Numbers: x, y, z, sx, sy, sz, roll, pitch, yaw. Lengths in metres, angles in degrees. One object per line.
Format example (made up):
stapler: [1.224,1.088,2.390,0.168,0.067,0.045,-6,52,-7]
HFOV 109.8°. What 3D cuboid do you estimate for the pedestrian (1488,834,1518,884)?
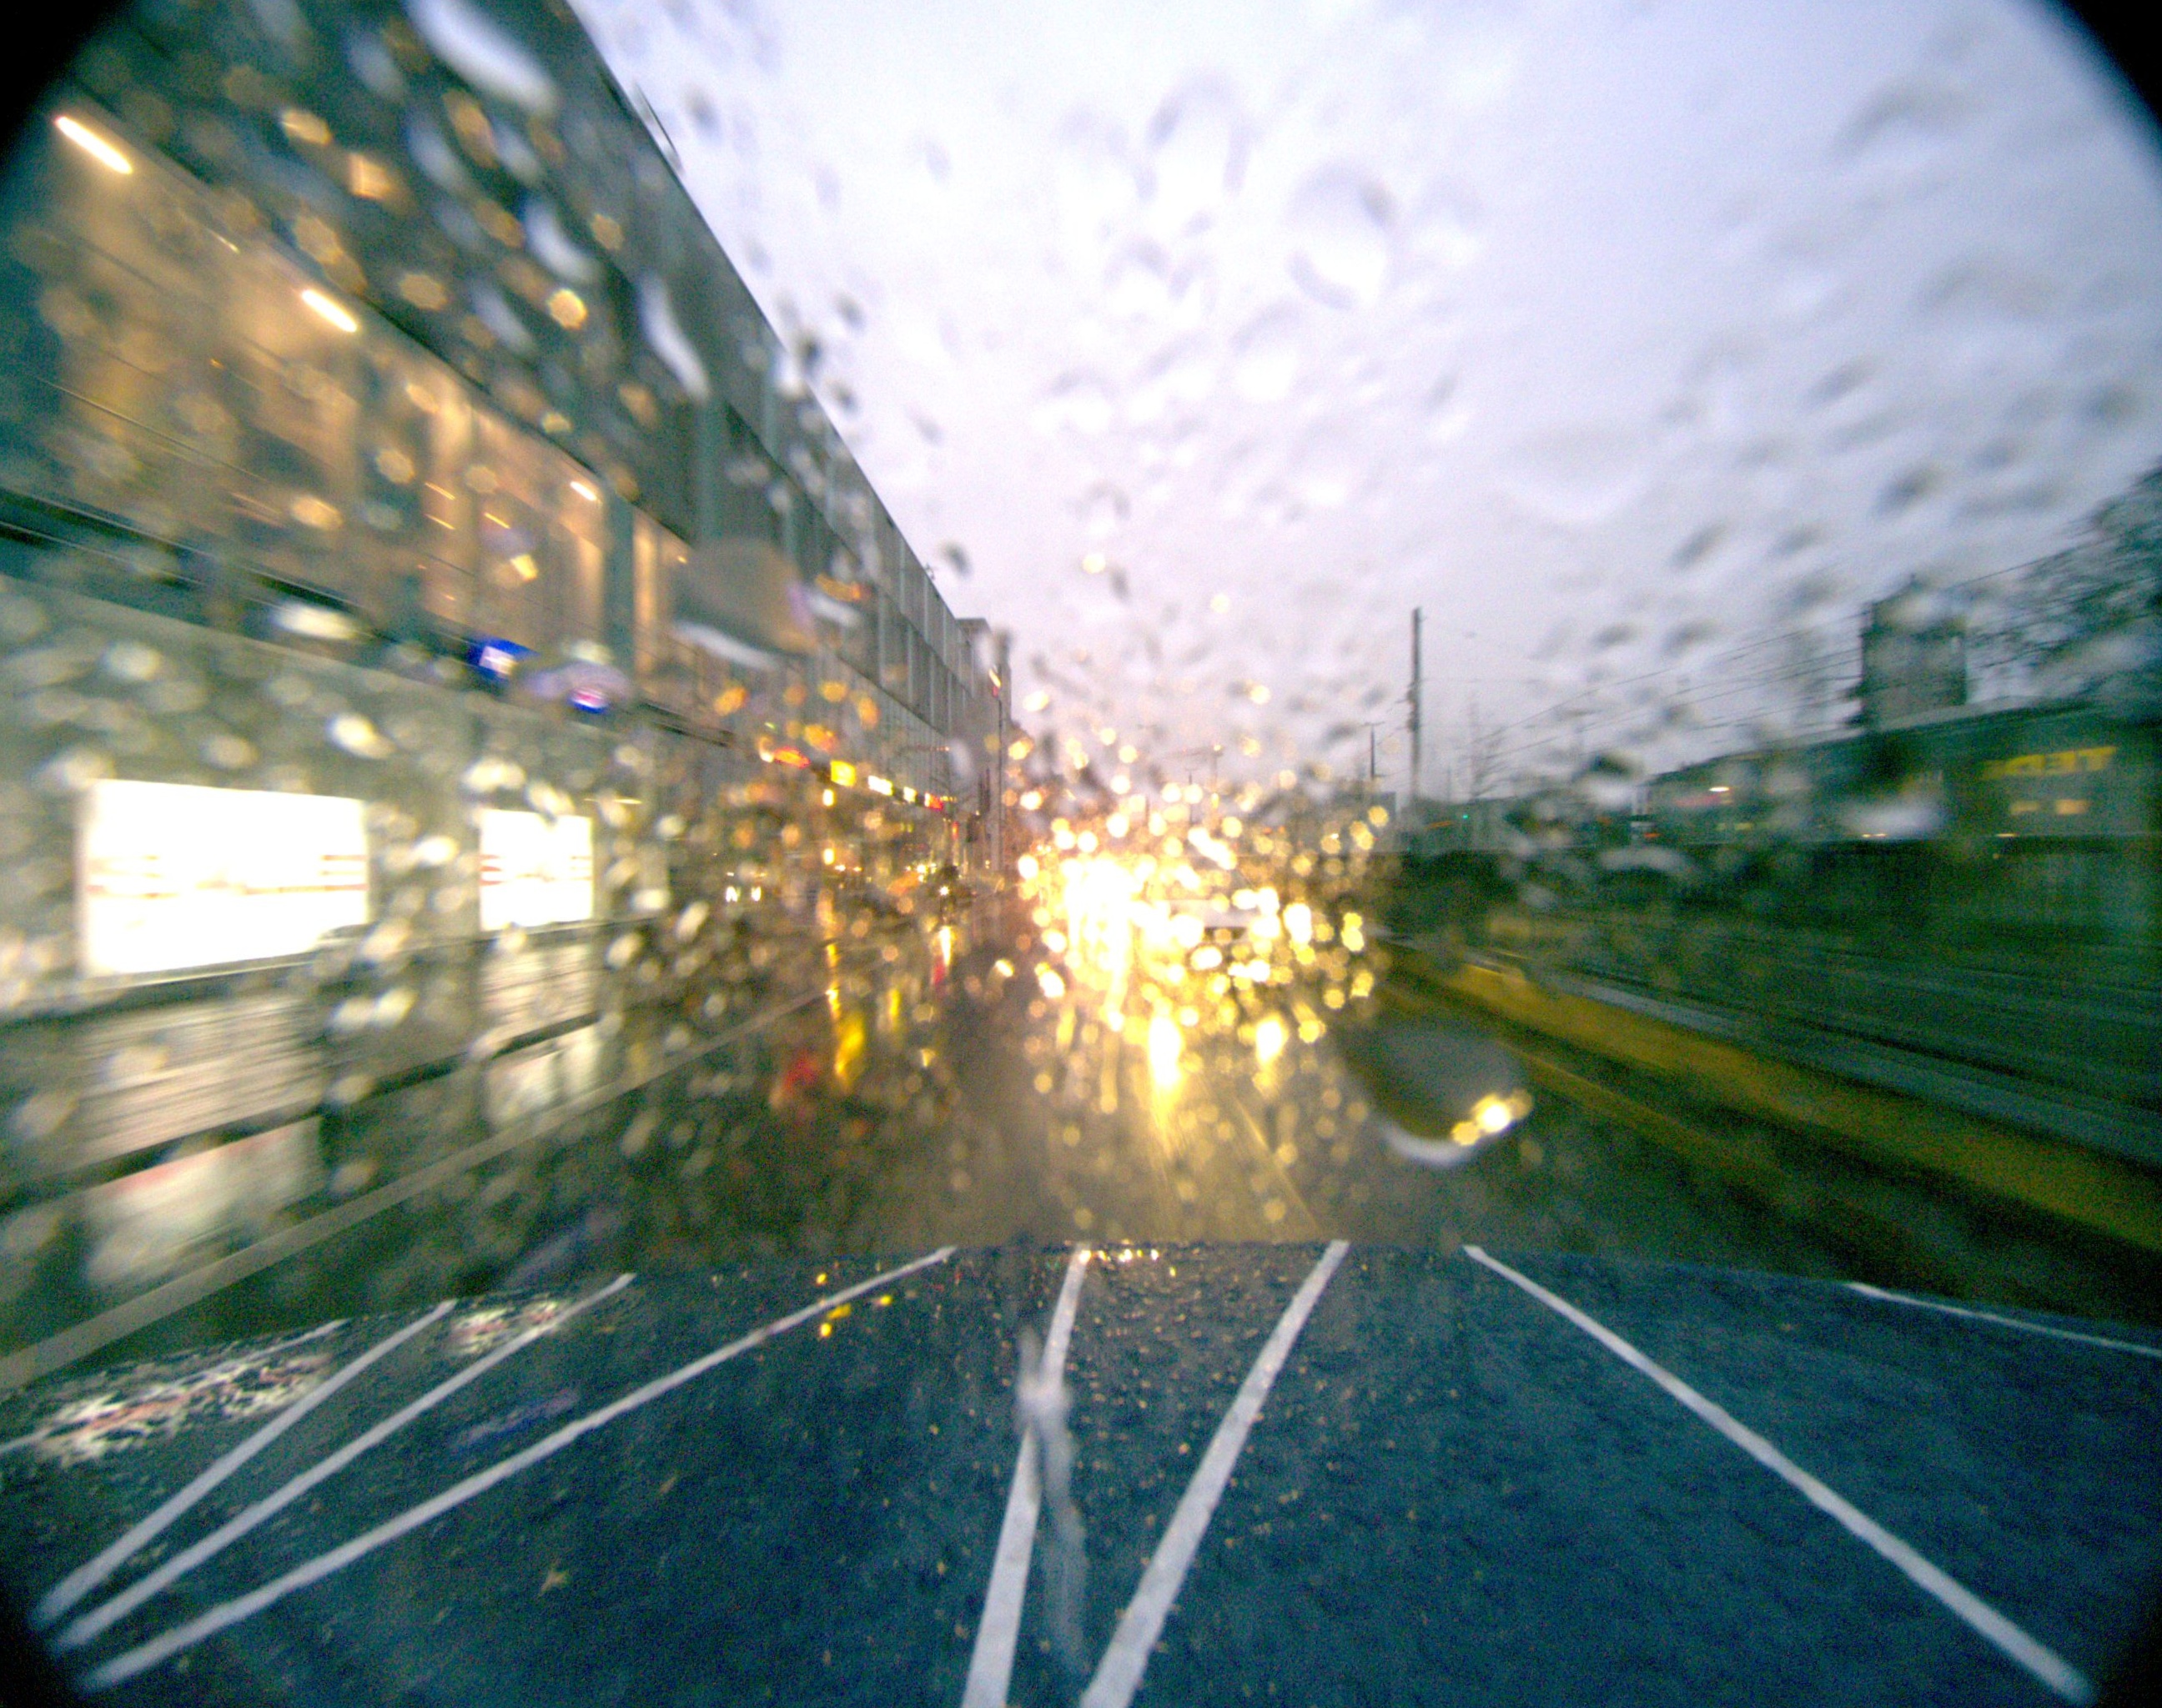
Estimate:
pedestrian: [13.120,0.153,23.633,0.585,1.541,0.741,-1,1,13]

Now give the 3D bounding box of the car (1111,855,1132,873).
car: [3.754,0.898,70.797,1.867,1.652,3.987,-1,0,2]

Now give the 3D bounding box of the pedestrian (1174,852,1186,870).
pedestrian: [9.861,0.694,75.416,0.862,1.704,0.763,-2,1,-25]

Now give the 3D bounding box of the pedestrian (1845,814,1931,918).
pedestrian: [12.520,0.184,11.807,0.585,1.541,0.741,-1,1,13]

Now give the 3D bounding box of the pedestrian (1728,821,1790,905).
pedestrian: [12.883,0.171,14.457,0.585,1.541,0.741,-1,1,13]

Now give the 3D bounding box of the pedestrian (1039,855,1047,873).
pedestrian: [-3.767,0.986,74.872,0.707,1.684,0.723,1,0,-9]

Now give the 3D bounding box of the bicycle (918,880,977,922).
bicycle: [-3.597,1.252,20.707,0.945,0.993,2.241,-2,0,7]

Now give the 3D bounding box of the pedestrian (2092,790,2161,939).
pedestrian: [12.653,0.109,8.923,0.585,1.692,0.741,-1,1,13]

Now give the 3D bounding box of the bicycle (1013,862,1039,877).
bicycle: [-4.295,1.207,59.479,1.908,1.168,0.667,1,0,2]

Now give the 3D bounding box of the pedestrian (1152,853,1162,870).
pedestrian: [7.519,0.752,75.039,0.655,1.708,0.749,-2,1,-25]

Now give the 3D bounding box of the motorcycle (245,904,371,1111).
motorcycle: [-6.322,1.135,6.181,1.904,1.326,0.597,1,2,42]

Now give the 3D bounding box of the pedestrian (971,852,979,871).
pedestrian: [-10.524,0.741,75.173,0.616,1.794,0.624,-2,0,3]

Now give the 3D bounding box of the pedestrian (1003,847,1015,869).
pedestrian: [-7.205,0.392,76.381,0.960,2.179,0.711,-1,1,14]

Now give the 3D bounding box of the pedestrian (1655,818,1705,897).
pedestrian: [13.216,0.084,16.791,0.585,1.692,0.741,-1,1,13]

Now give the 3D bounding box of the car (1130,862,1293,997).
car: [1.623,0.888,10.772,1.813,1.464,4.140,-1,0,4]

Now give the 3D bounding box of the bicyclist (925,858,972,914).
bicyclist: [-3.586,0.856,20.671,0.945,1.454,1.067,-1,0,7]

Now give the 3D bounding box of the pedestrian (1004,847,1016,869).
pedestrian: [-7.192,0.413,76.974,0.965,2.149,0.581,-1,1,14]

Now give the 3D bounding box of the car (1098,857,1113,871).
car: [3.221,1.289,98.737,1.867,1.652,3.987,-1,0,2]

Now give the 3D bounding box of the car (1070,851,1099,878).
car: [0.311,0.733,55.703,1.865,1.867,4.001,-1,0,3]

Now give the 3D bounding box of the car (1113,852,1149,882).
car: [3.000,0.767,45.811,1.998,1.673,4.001,-1,0,3]
